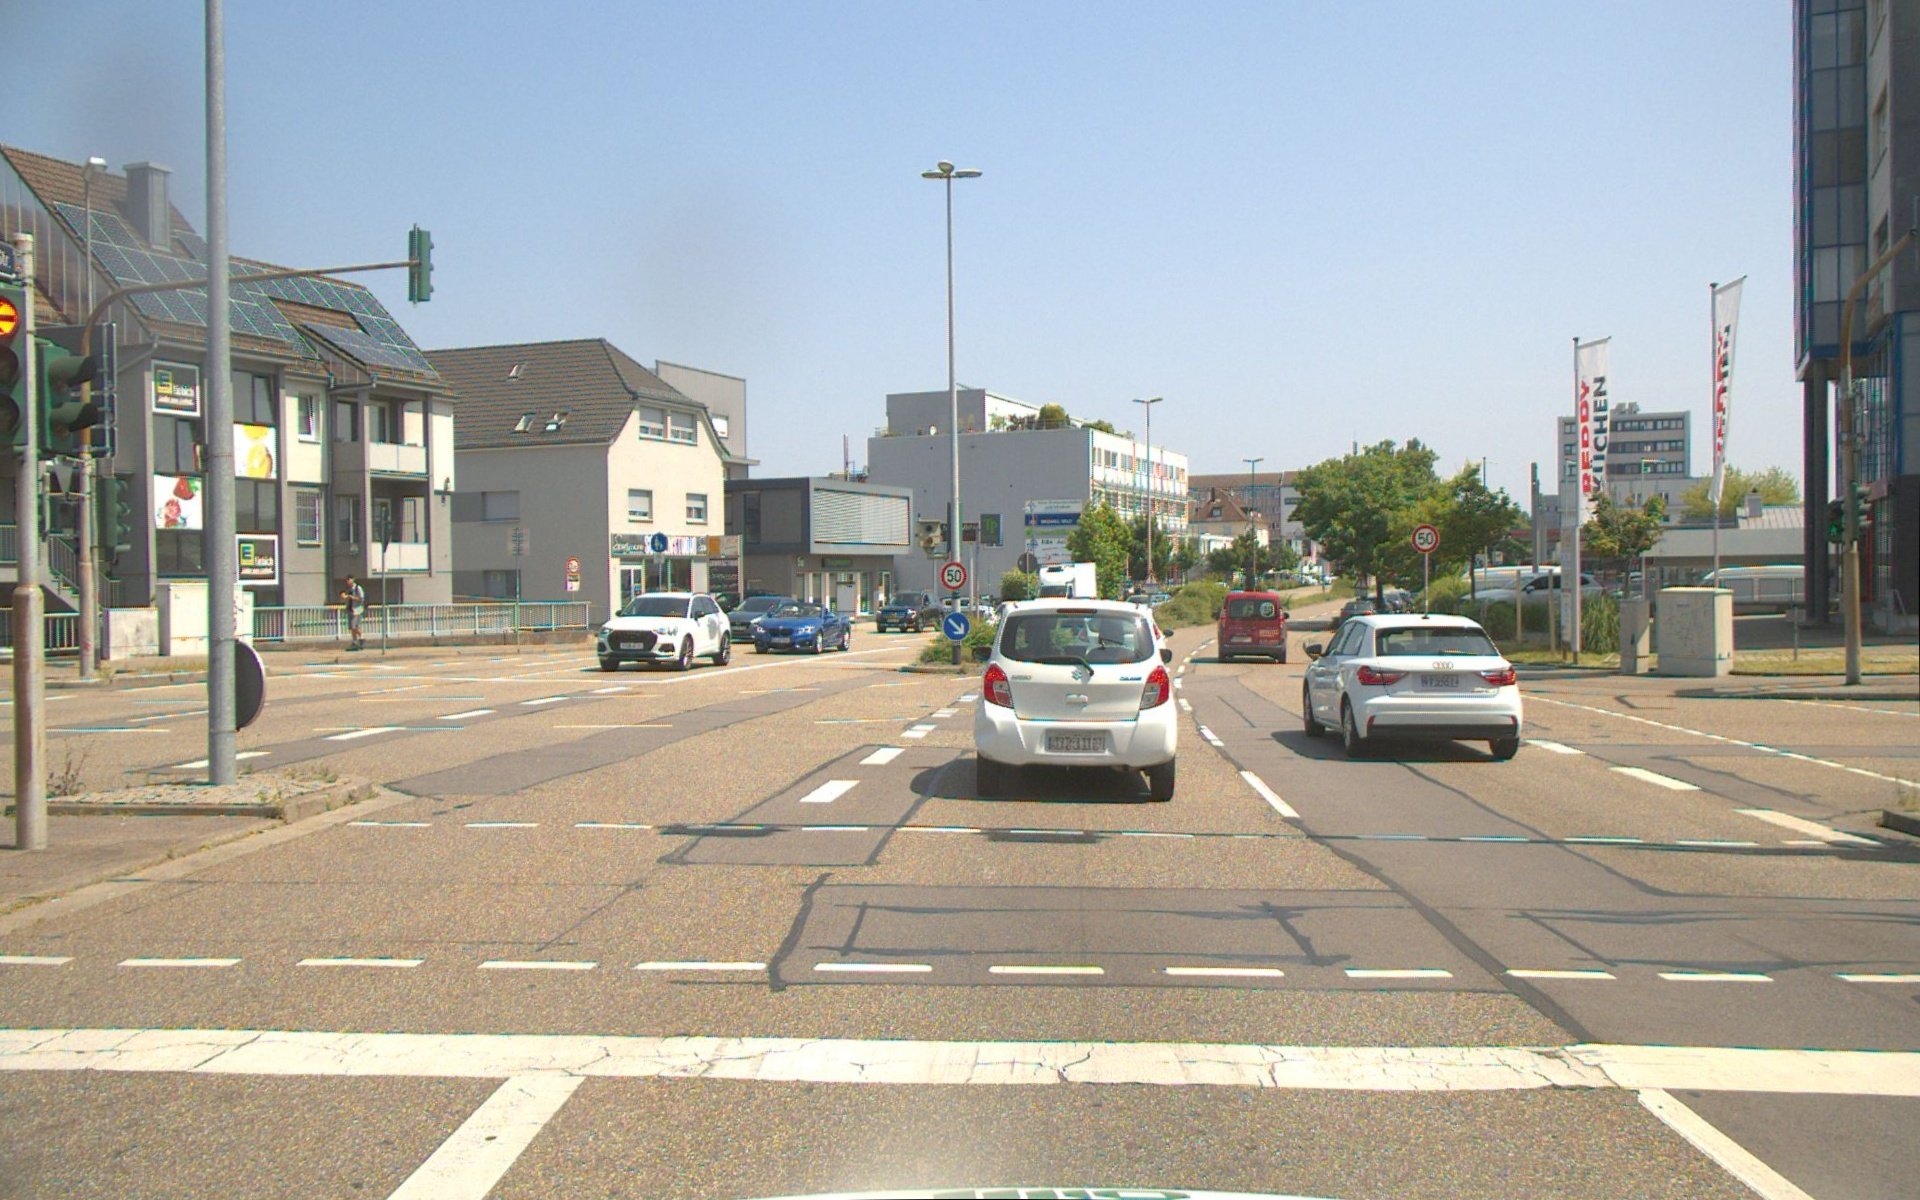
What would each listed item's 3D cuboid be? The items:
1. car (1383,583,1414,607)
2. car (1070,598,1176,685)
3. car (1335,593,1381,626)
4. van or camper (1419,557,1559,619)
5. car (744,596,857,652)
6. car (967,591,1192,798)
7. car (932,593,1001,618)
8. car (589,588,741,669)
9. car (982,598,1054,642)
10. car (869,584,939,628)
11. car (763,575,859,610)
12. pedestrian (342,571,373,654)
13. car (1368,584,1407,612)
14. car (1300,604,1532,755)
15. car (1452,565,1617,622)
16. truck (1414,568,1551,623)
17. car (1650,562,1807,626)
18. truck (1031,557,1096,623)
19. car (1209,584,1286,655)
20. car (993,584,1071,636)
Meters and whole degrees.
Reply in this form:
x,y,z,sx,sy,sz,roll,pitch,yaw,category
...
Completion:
x,y,z,sx,sy,sz,roll,pitch,yaw,category
29.590,-0.336,111.570,1.815,1.507,5.160,-1,1,17,car
2.968,0.706,30.411,1.791,1.475,4.002,0,0,5,car
18.715,0.429,77.651,1.760,1.430,4.322,1,1,18,car
26.972,-0.608,84.392,6.655,2.948,2.276,-1,1,19,van or camper
-4.250,0.617,44.819,1.823,1.390,4.351,1,0,12,car
0.981,0.721,14.097,1.676,1.537,3.248,1,0,3,car
0.381,0.337,100.345,3.902,1.484,1.576,-1,-1,15,car
-6.225,0.561,35.448,1.778,1.597,4.560,1,0,9,car
2.075,0.673,57.745,1.823,1.456,4.749,0,0,10,car
-2.242,0.229,67.653,1.951,1.685,4.598,-1,1,10,car
-6.936,-0.334,76.973,3.971,1.548,2.001,-1,0,17,car
-15.176,0.302,41.666,0.492,2.048,0.743,1,1,3,pedestrian
27.399,-0.130,105.980,1.920,1.556,5.163,-3,0,19,car
4.765,0.765,17.765,1.632,1.424,3.795,0,0,3,car
18.489,-0.194,53.375,4.633,1.743,1.998,1,-1,-6,car
25.336,-0.206,80.151,6.117,2.377,2.369,-2,1,21,truck
31.560,-0.245,68.149,5.766,2.573,2.119,0,-1,23,car
5.829,-0.511,92.113,2.216,3.477,7.044,0,0,15,truck
7.508,0.487,43.500,1.756,1.759,3.976,0,0,7,car
2.641,0.372,59.496,1.868,1.781,4.763,0,0,14,car
